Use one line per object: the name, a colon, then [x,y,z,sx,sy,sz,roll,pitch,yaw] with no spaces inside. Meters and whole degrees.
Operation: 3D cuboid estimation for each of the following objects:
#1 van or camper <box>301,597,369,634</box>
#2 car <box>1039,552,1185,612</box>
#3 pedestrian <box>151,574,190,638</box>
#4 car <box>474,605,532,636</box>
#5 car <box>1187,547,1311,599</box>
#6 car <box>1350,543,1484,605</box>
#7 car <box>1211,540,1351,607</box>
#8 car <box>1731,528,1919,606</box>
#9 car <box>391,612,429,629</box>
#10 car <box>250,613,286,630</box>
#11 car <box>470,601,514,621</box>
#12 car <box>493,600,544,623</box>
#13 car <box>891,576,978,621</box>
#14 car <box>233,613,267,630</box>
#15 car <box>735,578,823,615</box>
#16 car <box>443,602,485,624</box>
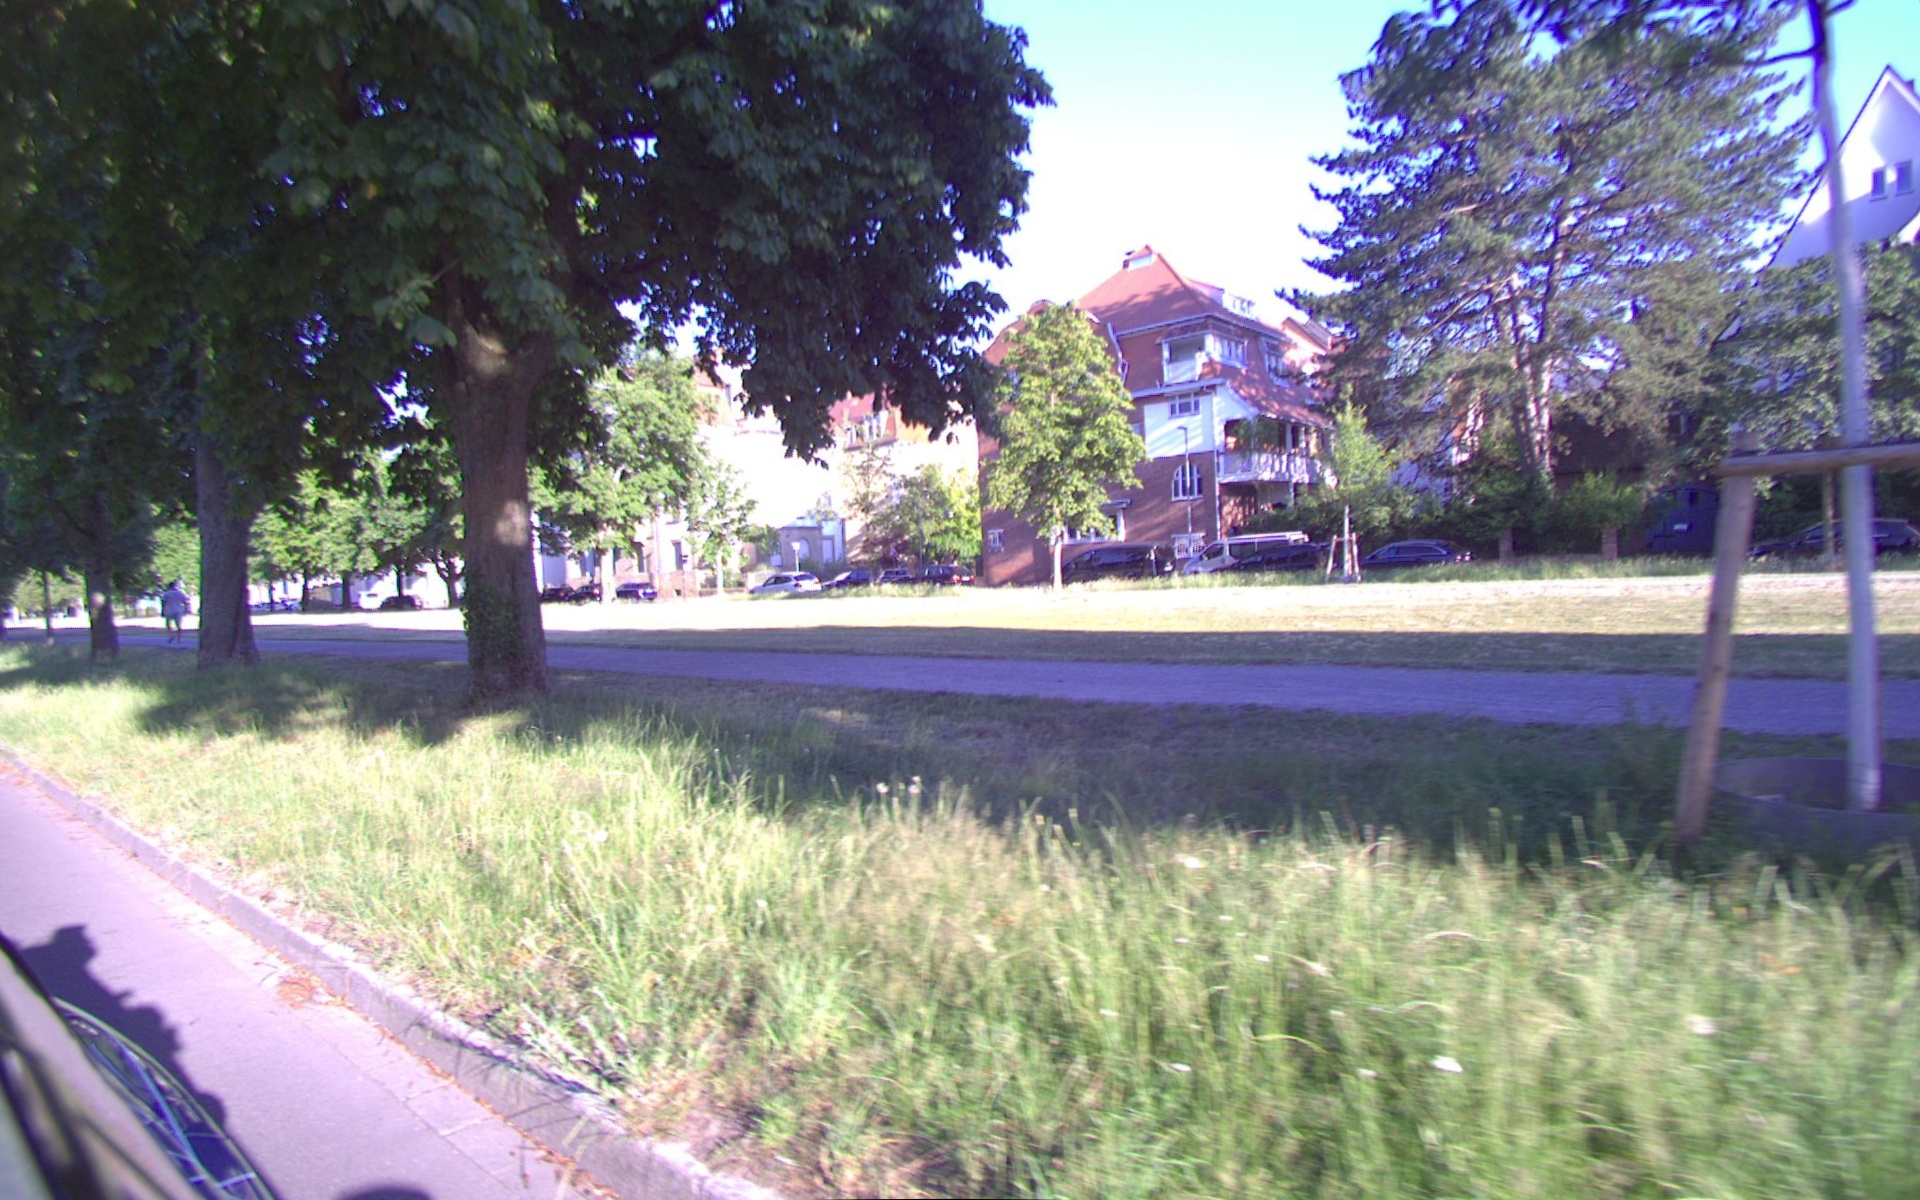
van or camper: [-59.050,1.508,95.526,7.893,3.133,3.221,-2,1,41]
car: [5.755,-0.655,38.731,5.244,1.955,1.973,-3,1,42]
pedestrian: [-22.502,0.176,28.838,0.716,1.771,0.994,-4,1,-43]
car: [-32.634,1.480,72.233,4.875,2.028,1.972,-2,1,43]
car: [11.641,-1.087,40.954,4.406,1.851,1.798,-2,2,41]
car: [16.591,-0.931,36.824,3.999,2.028,1.972,-2,2,43]
car: [10.873,-0.878,34.413,3.998,2.028,1.973,-2,2,41]
car: [25.165,-0.940,29.493,1.971,2.028,4.002,-5,2,-45]
car: [-53.731,2.010,98.850,3.997,1.475,1.974,-2,2,41]
car: [-74.340,2.300,108.686,4.873,1.703,1.973,-2,1,41]
car: [-40.122,0.923,86.733,4.169,1.440,1.972,-3,2,43]
car: [-36.157,0.969,82.805,4.425,1.664,1.974,-2,1,40]
car: [-1.347,-0.056,51.829,4.366,2.028,1.739,-3,1,41]
car: [-78.577,2.429,111.999,4.873,1.703,1.973,-2,1,41]
car: [-9.286,-0.169,51.756,4.647,1.651,1.801,-2,2,41]
car: [-43.856,1.125,89.487,4.000,1.747,1.972,-2,1,43]
